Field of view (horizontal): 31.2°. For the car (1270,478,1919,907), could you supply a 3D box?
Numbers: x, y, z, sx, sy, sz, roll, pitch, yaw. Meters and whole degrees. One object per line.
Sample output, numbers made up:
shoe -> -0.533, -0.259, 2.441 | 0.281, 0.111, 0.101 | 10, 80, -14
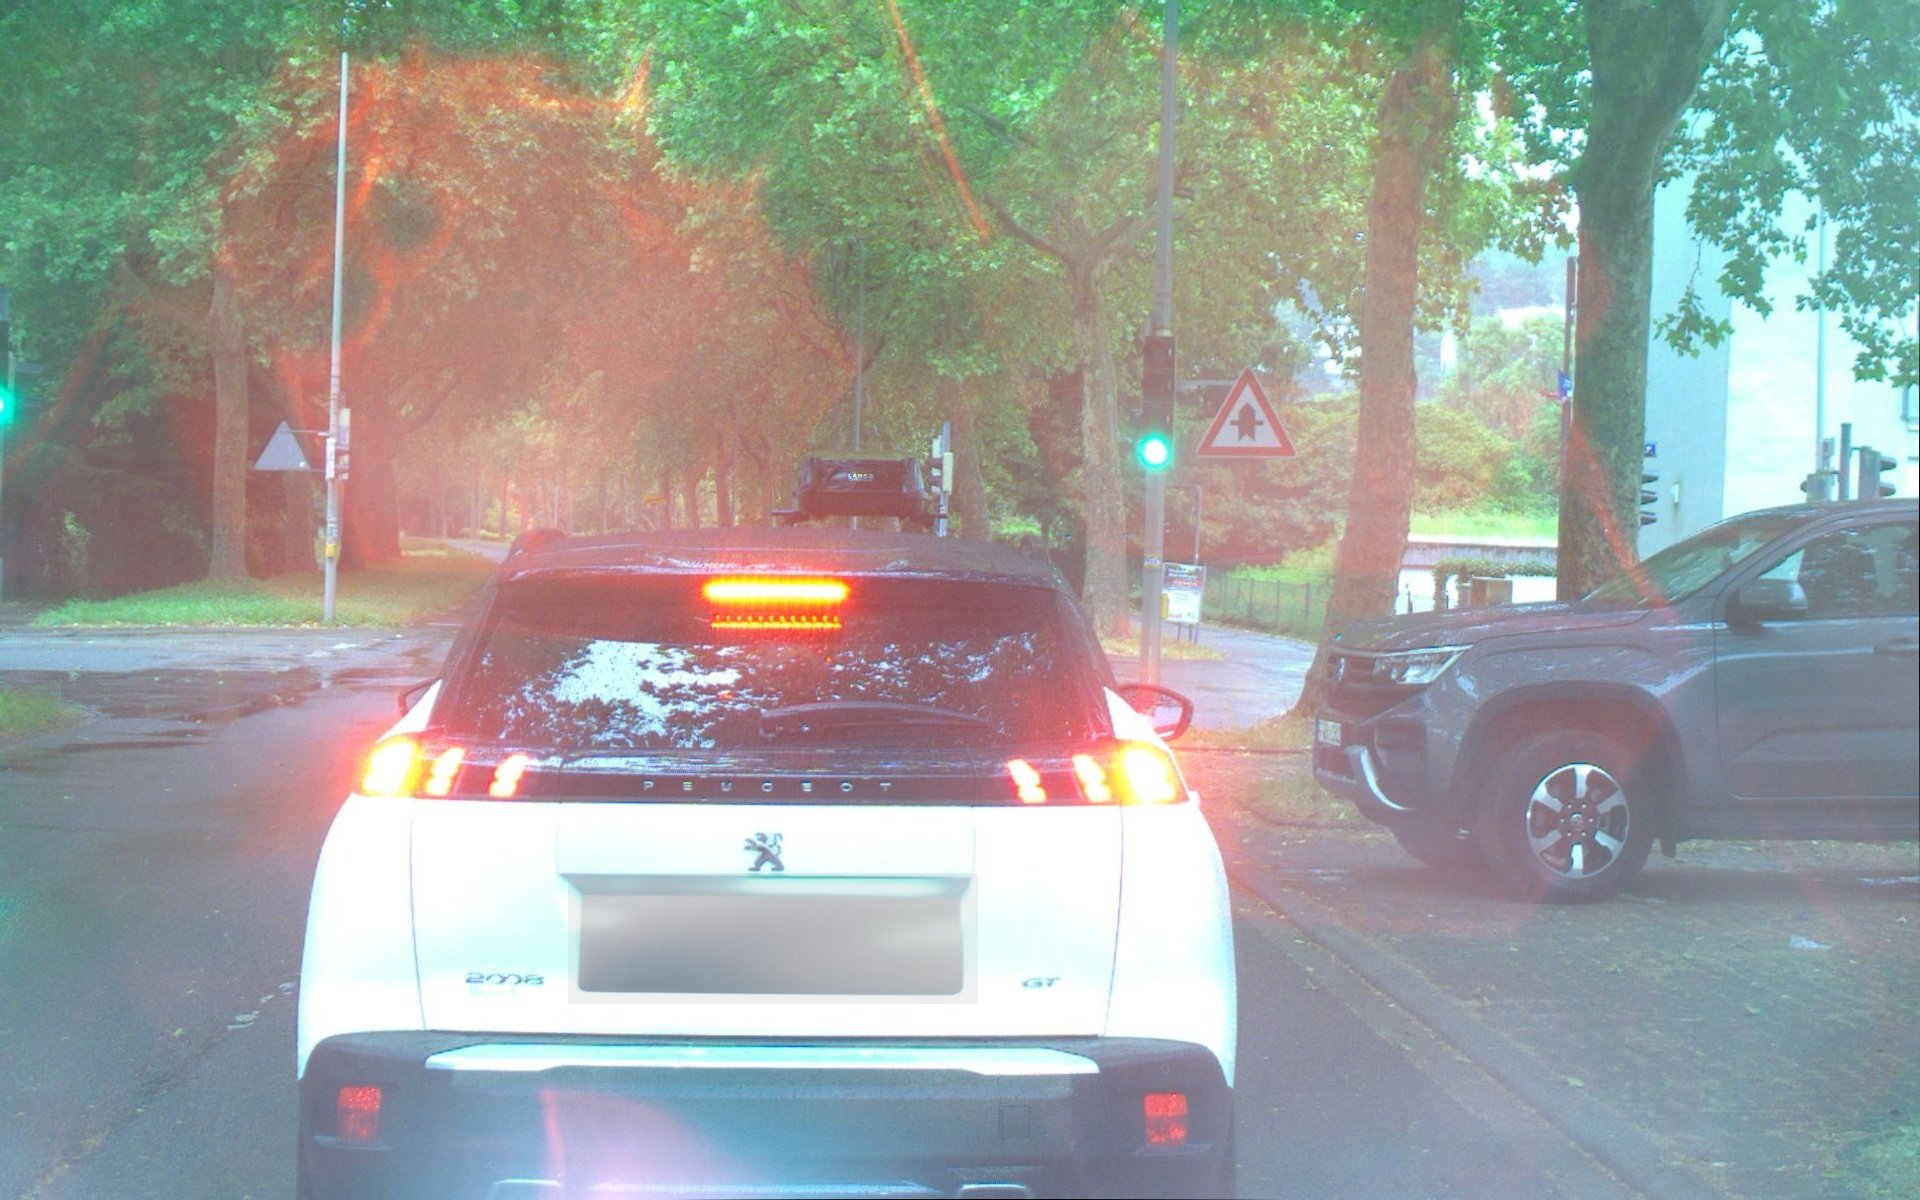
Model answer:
car -> 4.282, 0.427, 15.963 | 5.337, 1.800, 1.846 | 1, 1, -7

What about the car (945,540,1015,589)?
car -> 0.618, -1.156, 111.746 | 1.905, 1.504, 3.932 | 2, 1, -5

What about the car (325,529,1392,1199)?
car -> -0.211, 0.625, 7.835 | 1.780, 1.531, 4.058 | 1, 1, -1
